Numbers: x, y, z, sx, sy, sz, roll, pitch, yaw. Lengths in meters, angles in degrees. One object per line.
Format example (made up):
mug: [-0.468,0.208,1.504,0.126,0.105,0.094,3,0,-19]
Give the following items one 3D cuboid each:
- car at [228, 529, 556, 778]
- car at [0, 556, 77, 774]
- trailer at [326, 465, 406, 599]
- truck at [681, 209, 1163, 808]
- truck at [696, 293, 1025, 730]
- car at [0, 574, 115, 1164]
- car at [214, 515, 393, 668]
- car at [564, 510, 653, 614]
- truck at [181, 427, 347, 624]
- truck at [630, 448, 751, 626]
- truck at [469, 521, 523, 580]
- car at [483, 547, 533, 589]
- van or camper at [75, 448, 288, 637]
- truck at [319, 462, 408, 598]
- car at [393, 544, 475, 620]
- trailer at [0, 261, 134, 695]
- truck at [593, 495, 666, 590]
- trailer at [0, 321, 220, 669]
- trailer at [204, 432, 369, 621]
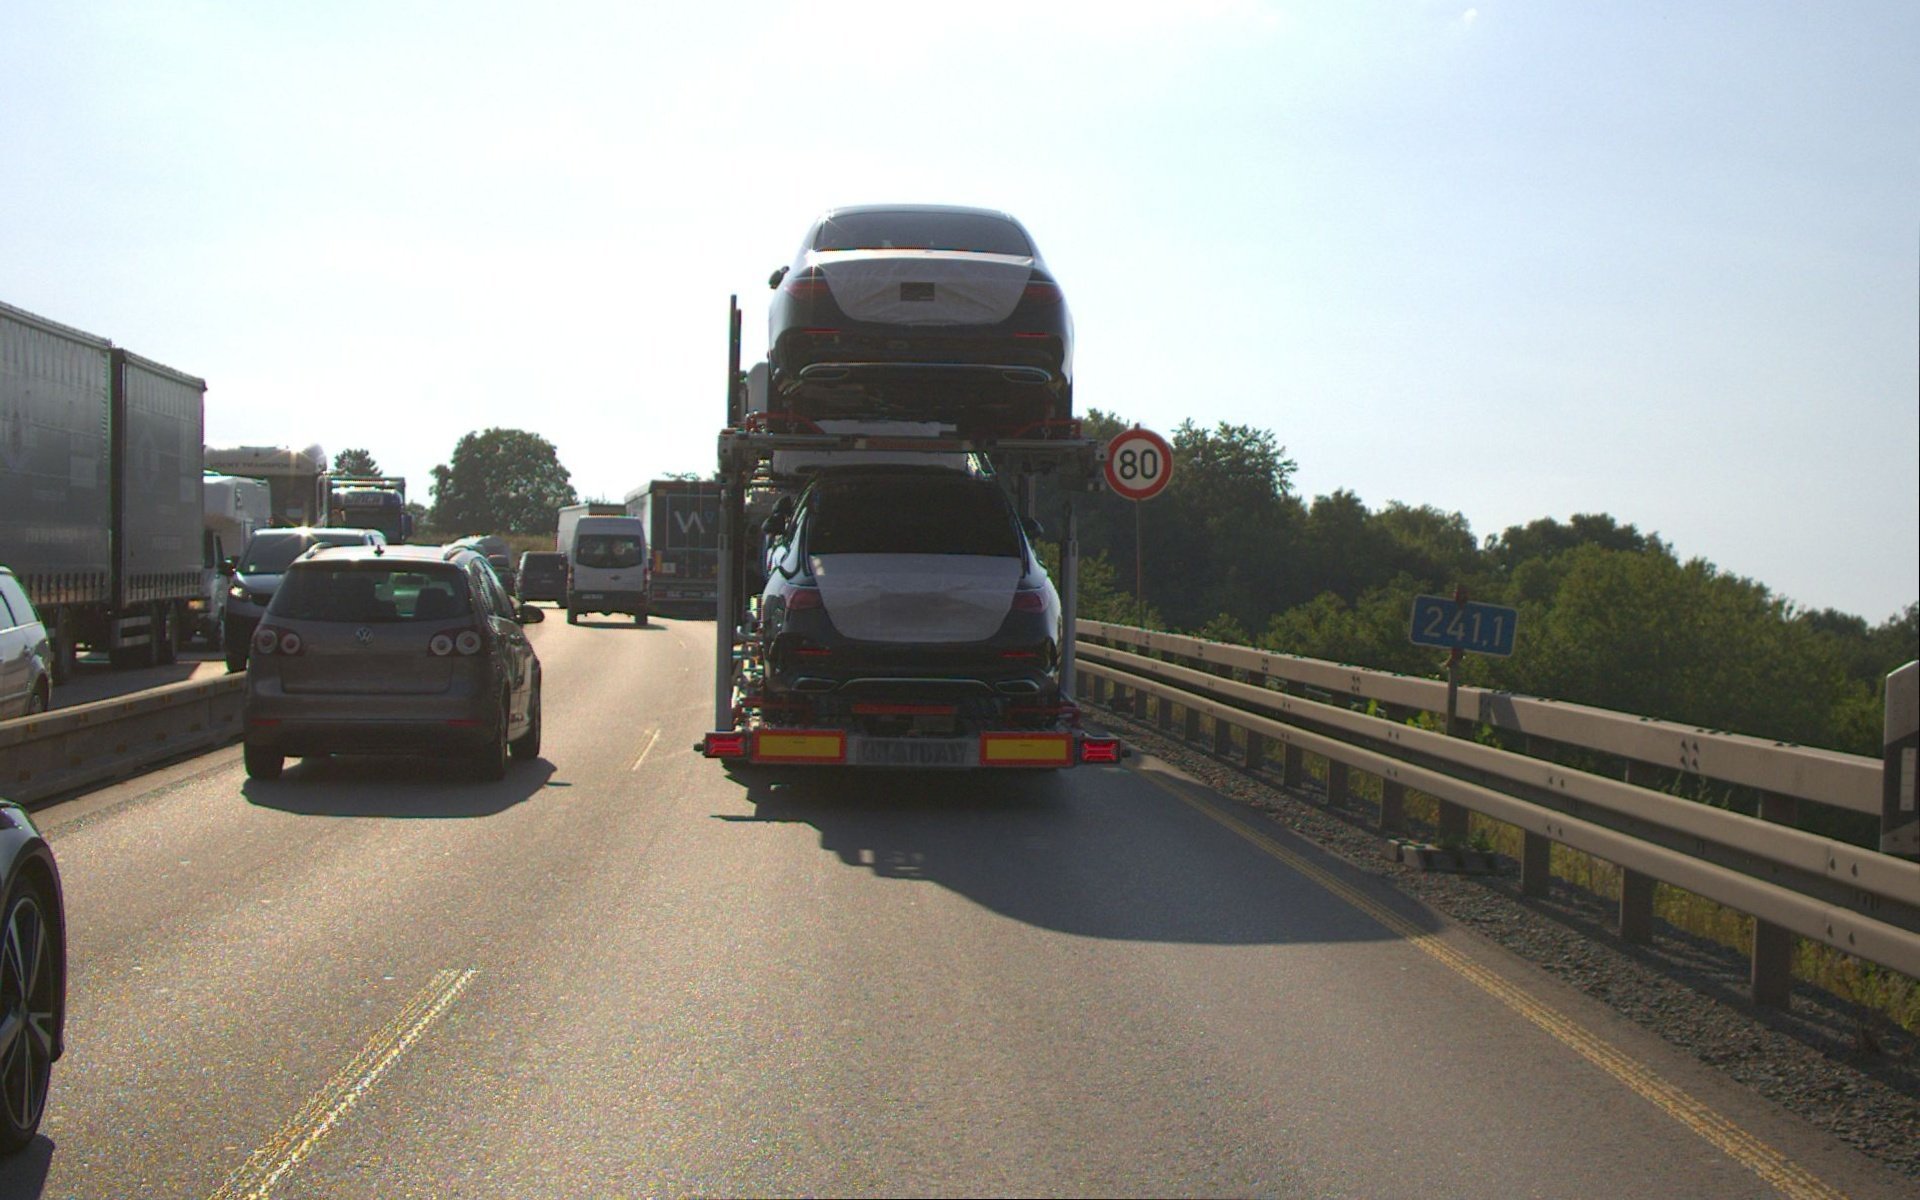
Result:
car: [-3.889,0.335,24.127,1.691,1.590,4.000,1,0,-1]
car: [-7.065,0.419,22.395,1.627,1.421,4.658,1,0,-3]
trailer: [-19.472,-2.146,113.172,2.306,4.116,14.604,1,0,-9]
truck: [-0.556,-0.561,25.496,2.799,3.485,10.606,1,0,-4]
truck: [-1.179,-0.796,35.020,2.837,3.779,9.988,1,0,-4]
car: [-3.214,0.651,6.823,1.934,1.394,4.961,1,1,-1]
car: [-8.713,-0.120,45.952,1.816,1.919,4.837,1,0,-4]
car: [-8.723,-0.925,85.648,1.920,2.484,5.409,1,0,-3]
truck: [-13.889,-1.446,69.024,2.600,3.741,6.518,1,0,-6]
truck: [-8.422,-1.892,106.402,3.285,5.219,9.938,1,0,-7]
truck: [-25.225,-2.660,187.102,2.590,3.159,6.678,1,0,-5]
car: [-19.388,-1.348,147.511,1.826,1.766,4.000,1,0,-3]
van or camper: [-12.709,-0.898,56.674,2.407,2.881,7.619,1,0,-5]
truck: [-18.312,-2.107,105.757,2.502,4.052,5.666,1,0,-8]
car: [-12.155,-0.418,79.594,1.756,1.689,4.454,1,0,-7]
trailer: [-10.932,-1.234,36.298,2.475,4.314,10.512,1,0,-4]
truck: [-13.075,-2.226,136.571,2.530,3.635,8.906,1,0,-4]
trailer: [-11.663,-1.294,45.713,2.442,4.174,8.545,1,0,-5]
trailer: [-14.529,-1.498,75.033,2.519,3.712,13.981,1,0,-7]
